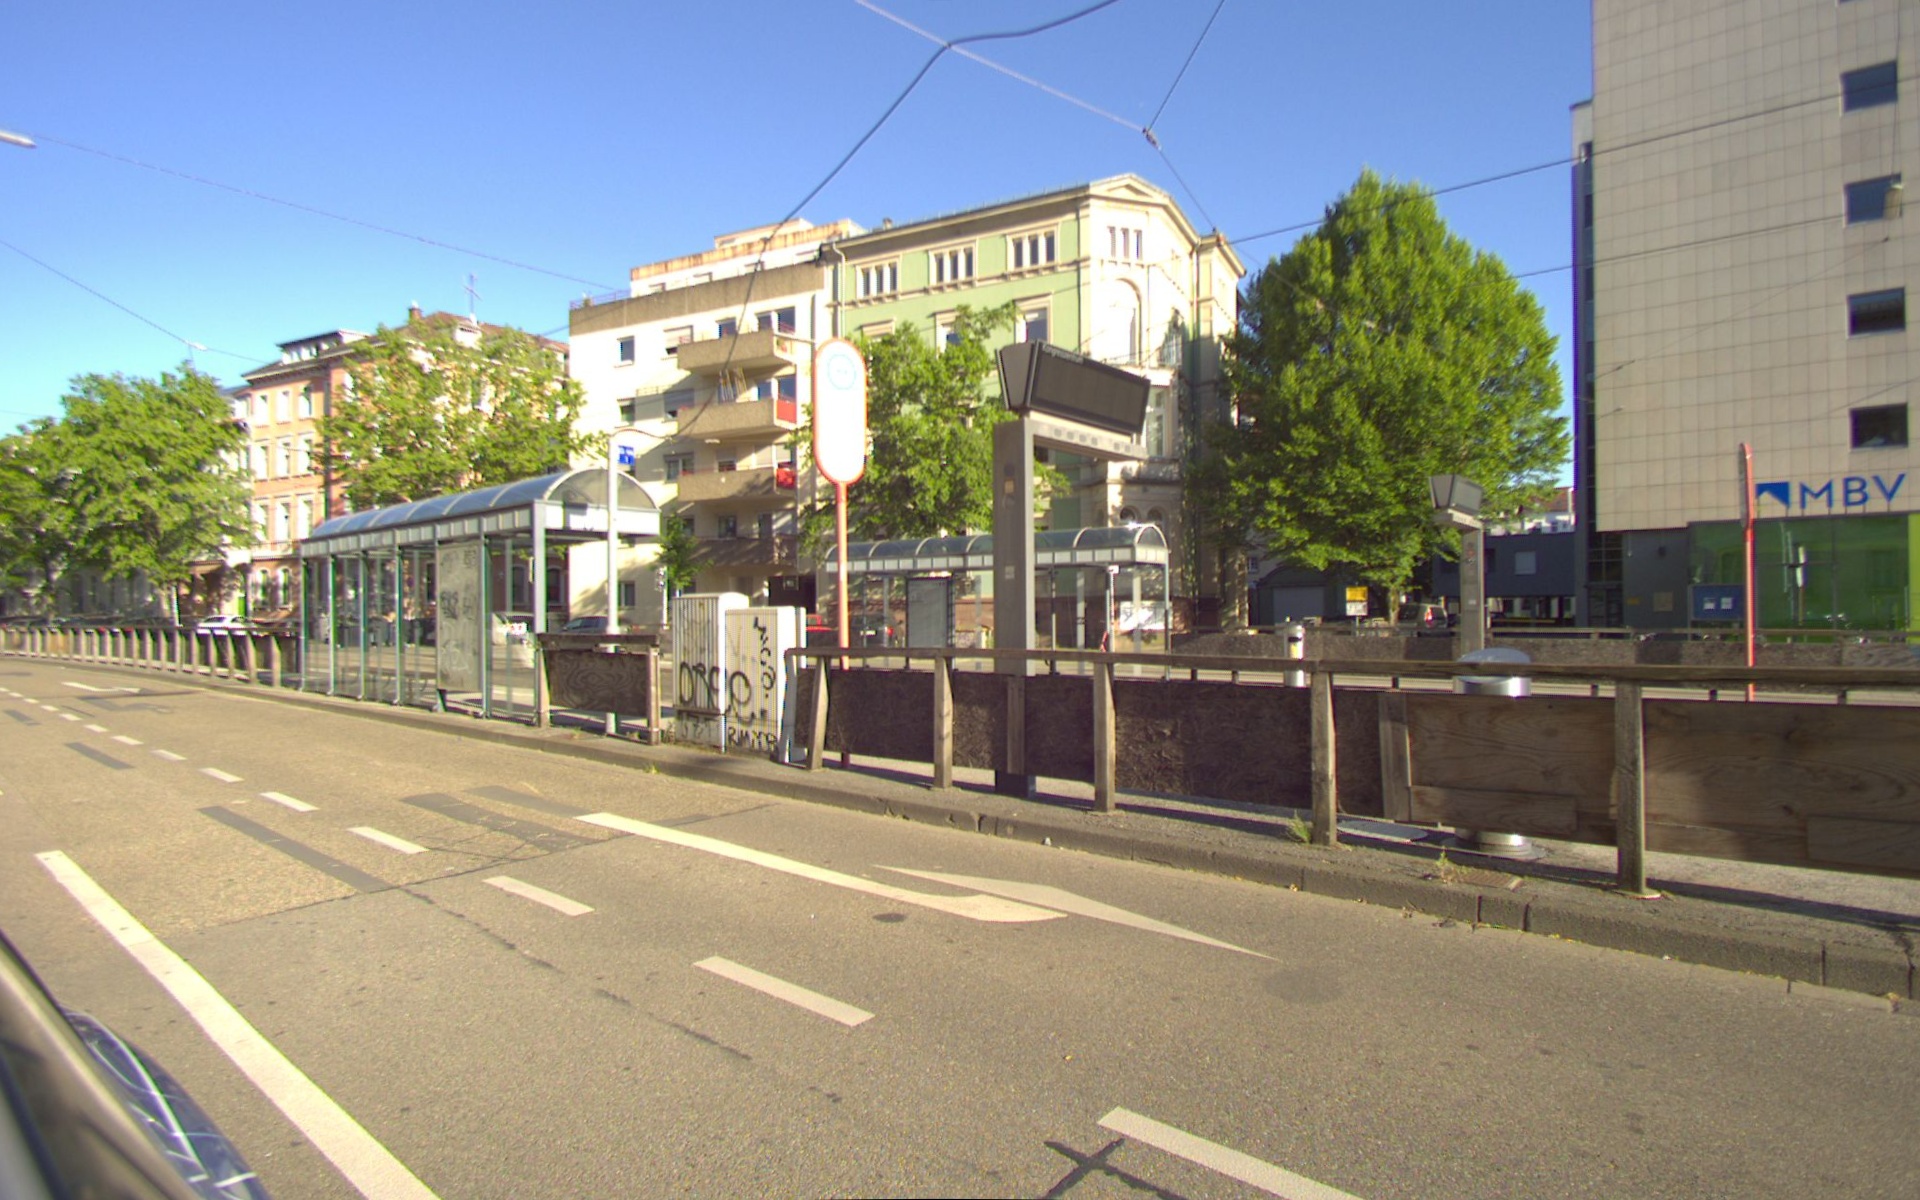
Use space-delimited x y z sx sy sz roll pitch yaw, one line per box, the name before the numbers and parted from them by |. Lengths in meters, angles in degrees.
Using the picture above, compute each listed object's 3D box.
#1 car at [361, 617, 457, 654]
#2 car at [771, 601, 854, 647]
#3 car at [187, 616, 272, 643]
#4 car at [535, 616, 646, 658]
car | -23.784 1.506 43.645 3.987 1.541 1.978 -1 -2 32
car | -6.665 1.084 46.148 1.791 2.029 3.963 -1 -1 27
car | -39.108 1.544 54.268 1.565 1.360 3.631 0 -1 11
car | -14.125 1.386 38.648 3.987 1.541 1.978 -1 -2 32
